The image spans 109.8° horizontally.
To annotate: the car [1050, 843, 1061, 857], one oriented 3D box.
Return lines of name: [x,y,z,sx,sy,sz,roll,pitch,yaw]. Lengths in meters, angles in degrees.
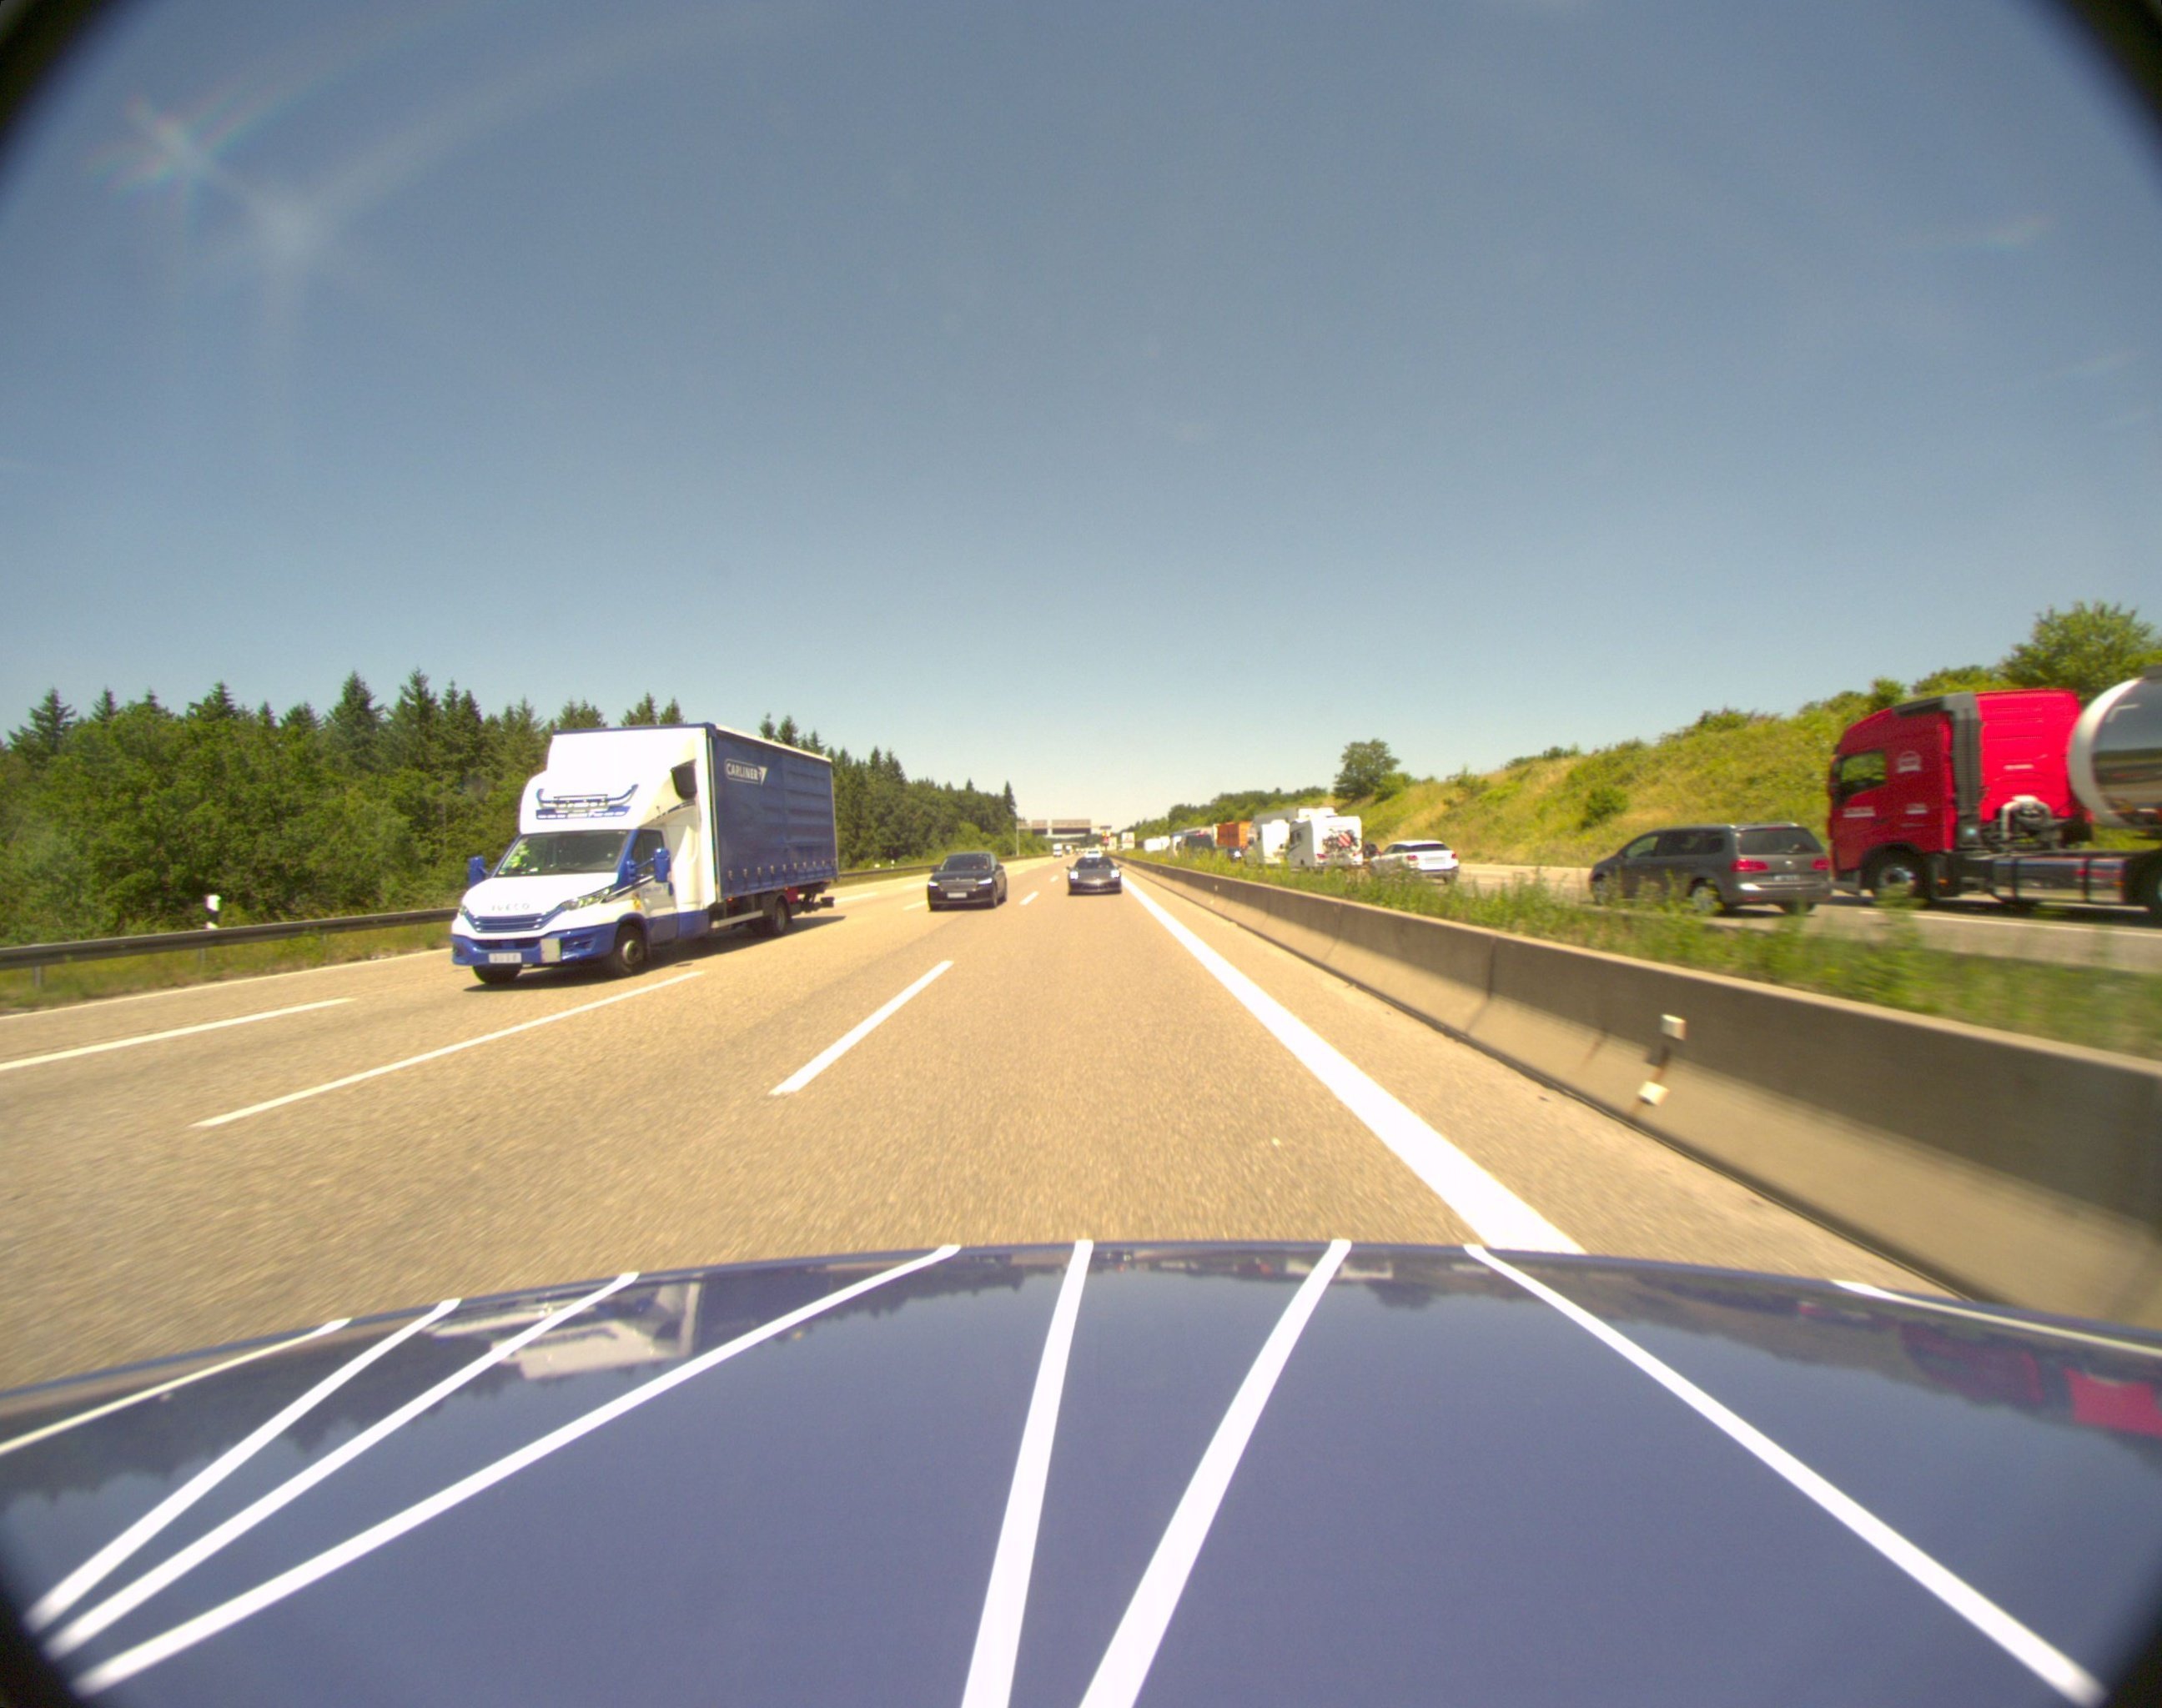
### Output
car: [-6.423,-1.145,192.224,2.303,3.317,7.620,-3,1,-1]

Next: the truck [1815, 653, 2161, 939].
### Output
truck: [15.795,-0.853,11.887,2.790,3.802,6.031,-3,1,1]

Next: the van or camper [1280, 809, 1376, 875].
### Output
van or camper: [12.405,-0.621,38.990,2.551,2.920,8.130,-2,1,2]

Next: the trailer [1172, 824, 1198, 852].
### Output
trailer: [16.937,-2.602,124.153,2.796,4.216,10.791,-3,1,1]

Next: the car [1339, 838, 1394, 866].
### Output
car: [16.092,-0.144,42.996,1.698,1.488,3.926,-2,1,1]

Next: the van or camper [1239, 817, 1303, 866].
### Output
van or camper: [12.444,-0.813,50.507,2.551,2.920,7.827,-2,1,2]

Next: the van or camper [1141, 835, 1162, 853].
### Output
van or camper: [12.261,-1.706,132.296,2.848,2.931,8.111,-3,1,1]

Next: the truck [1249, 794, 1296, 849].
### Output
truck: [16.037,-2.673,63.907,2.526,4.301,5.665,-3,1,2]

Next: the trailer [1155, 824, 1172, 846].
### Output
trailer: [17.185,-3.940,158.870,2.788,4.280,11.710,-1,1,3]

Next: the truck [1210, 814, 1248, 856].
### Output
truck: [16.355,-2.060,84.575,2.596,4.301,7.291,-3,1,0]

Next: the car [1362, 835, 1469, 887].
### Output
car: [11.572,0.196,26.645,1.887,1.618,4.358,-2,1,1]

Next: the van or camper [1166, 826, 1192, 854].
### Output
van or camper: [12.552,-1.811,98.195,2.318,3.371,7.678,-2,1,0]

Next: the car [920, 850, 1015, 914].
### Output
car: [-3.238,0.775,22.644,1.989,1.609,4.458,-3,-1,1]

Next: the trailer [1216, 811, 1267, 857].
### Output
trailer: [16.330,-1.982,78.337,2.618,4.286,11.998,-3,1,0]

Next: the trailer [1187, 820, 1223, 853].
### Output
trailer: [16.568,-2.358,102.178,2.787,4.011,12.249,-3,1,1]

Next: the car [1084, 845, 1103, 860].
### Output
car: [1.244,-0.206,77.742,1.719,1.432,4.456,-1,1,-1]

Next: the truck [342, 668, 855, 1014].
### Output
truck: [-7.346,-0.223,14.154,2.790,4.105,9.739,-3,1,2]

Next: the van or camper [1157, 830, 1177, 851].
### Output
van or camper: [12.763,-1.952,112.873,2.156,2.907,7.223,-3,1,1]

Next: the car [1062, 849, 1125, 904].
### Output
car: [0.409,0.642,24.257,1.718,1.432,4.457,-4,1,1]

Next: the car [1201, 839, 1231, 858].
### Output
car: [12.240,-0.531,69.297,1.823,1.579,4.882,-2,1,0]

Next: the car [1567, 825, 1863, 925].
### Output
car: [11.769,0.295,14.653,1.758,1.575,4.784,-2,1,1]

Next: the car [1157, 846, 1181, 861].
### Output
car: [8.707,-0.058,75.569,1.823,1.400,4.882,-2,1,0]

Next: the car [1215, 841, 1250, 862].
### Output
car: [12.155,-0.254,61.253,1.823,1.579,4.882,-2,1,0]

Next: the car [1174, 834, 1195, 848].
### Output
car: [11.180,-1.391,82.547,1.735,1.457,4.113,-2,1,0]

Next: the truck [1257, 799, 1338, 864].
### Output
truck: [15.977,-1.611,57.318,2.527,4.301,12.420,-3,1,1]

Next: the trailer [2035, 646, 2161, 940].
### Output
trailer: [15.696,-0.829,5.357,2.686,3.927,12.275,-3,0,2]

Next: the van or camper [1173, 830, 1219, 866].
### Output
van or camper: [8.483,-0.481,56.637,2.303,2.421,7.282,-2,1,0]

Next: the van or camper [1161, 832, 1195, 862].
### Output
van or camper: [8.592,-0.653,67.592,2.198,2.492,6.057,-2,1,0]

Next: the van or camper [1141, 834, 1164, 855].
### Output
van or camper: [8.998,-1.233,95.990,2.198,2.526,6.415,-2,1,0]

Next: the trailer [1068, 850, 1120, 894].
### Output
trailer: [0.473,0.596,27.522,1.689,1.399,3.046,-4,0,1]
